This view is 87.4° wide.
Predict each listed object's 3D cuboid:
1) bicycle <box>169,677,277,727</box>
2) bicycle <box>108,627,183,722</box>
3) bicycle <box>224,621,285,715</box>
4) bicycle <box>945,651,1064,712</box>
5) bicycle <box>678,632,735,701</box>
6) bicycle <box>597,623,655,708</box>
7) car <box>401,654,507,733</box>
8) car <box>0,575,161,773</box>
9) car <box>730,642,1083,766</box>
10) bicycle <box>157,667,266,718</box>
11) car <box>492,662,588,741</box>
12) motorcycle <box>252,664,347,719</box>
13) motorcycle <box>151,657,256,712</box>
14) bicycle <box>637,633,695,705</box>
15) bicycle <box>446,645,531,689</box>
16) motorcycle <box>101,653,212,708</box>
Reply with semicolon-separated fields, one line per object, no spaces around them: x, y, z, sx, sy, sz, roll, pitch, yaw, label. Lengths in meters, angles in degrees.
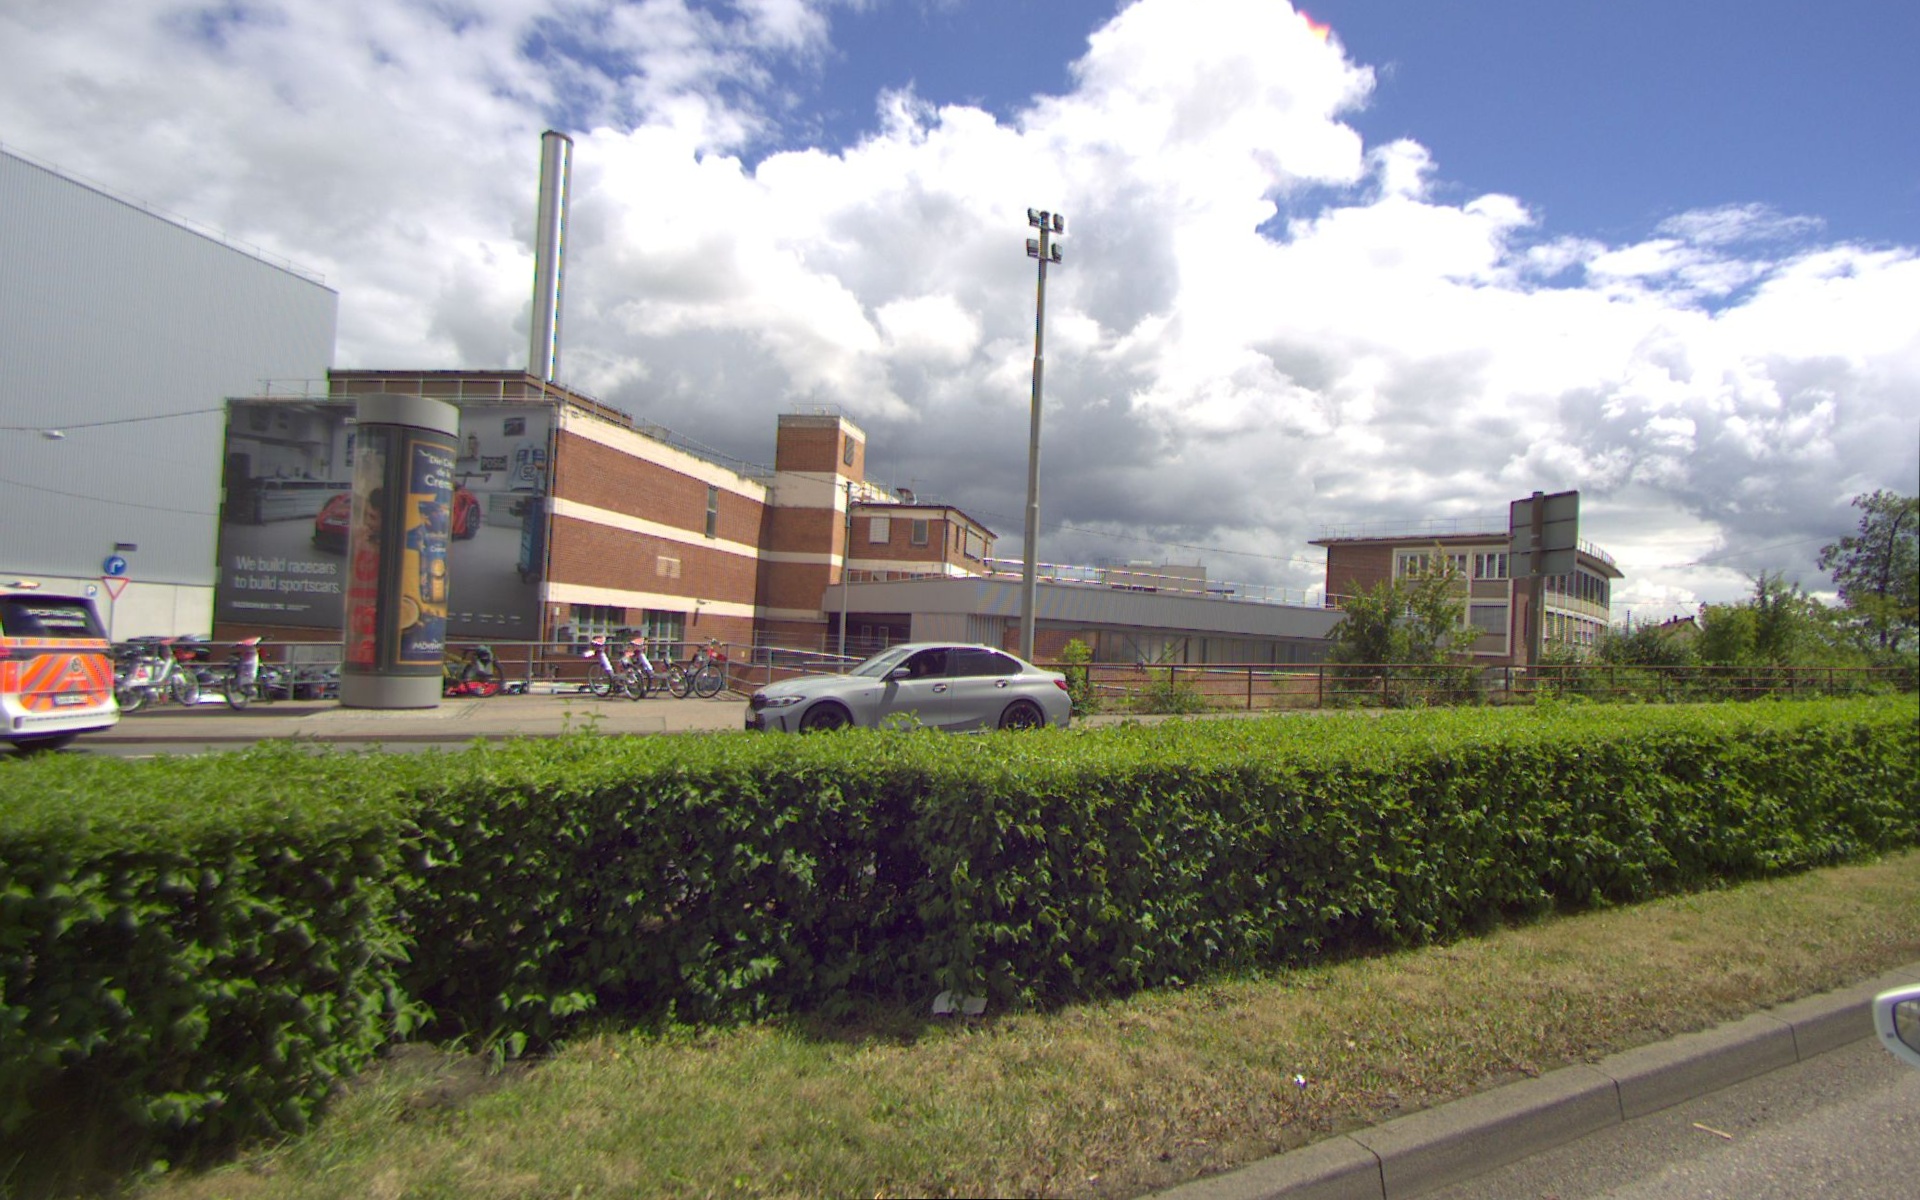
-14.040;1.956;19.183;1.596;0.877;0.487;5;-1;-36;bicycle
-12.645;1.127;15.634;0.486;1.333;1.600;5;-1;-27;bicycle
-11.494;1.079;16.400;0.486;1.400;1.600;5;-1;-27;bicycle
0.858;1.530;19.017;2.264;1.085;0.451;2;0;-24;bicycle
-4.983;1.284;19.657;0.661;1.197;1.730;3;0;-27;bicycle
-6.125;1.174;18.345;0.661;1.398;1.731;5;-1;-27;bicycle
-14.056;2.562;28.096;1.601;1.808;3.476;5;-1;-11;car
-11.998;0.750;10.856;4.750;2.009;1.997;2;-4;-10;car
-0.709;1.351;14.067;4.612;1.416;1.749;1;0;-26;car
-14.747;1.829;19.825;1.589;0.877;0.489;5;-1;-25;bicycle
-11.873;2.824;28.627;1.674;1.827;3.477;5;-1;-10;car
-17.915;2.461;27.351;0.903;1.211;2.909;5;-1;-8;motorcycle
-20.417;2.254;27.218;0.903;1.211;2.909;5;-1;-8;motorcycle
-5.597;1.273;19.087;0.662;1.198;1.729;-2;2;-29;bicycle
-10.127;1.426;21.604;1.594;0.878;0.488;1;0;-34;bicycle
-21.566;2.132;27.054;0.903;1.211;2.909;5;-1;-8;motorcycle
